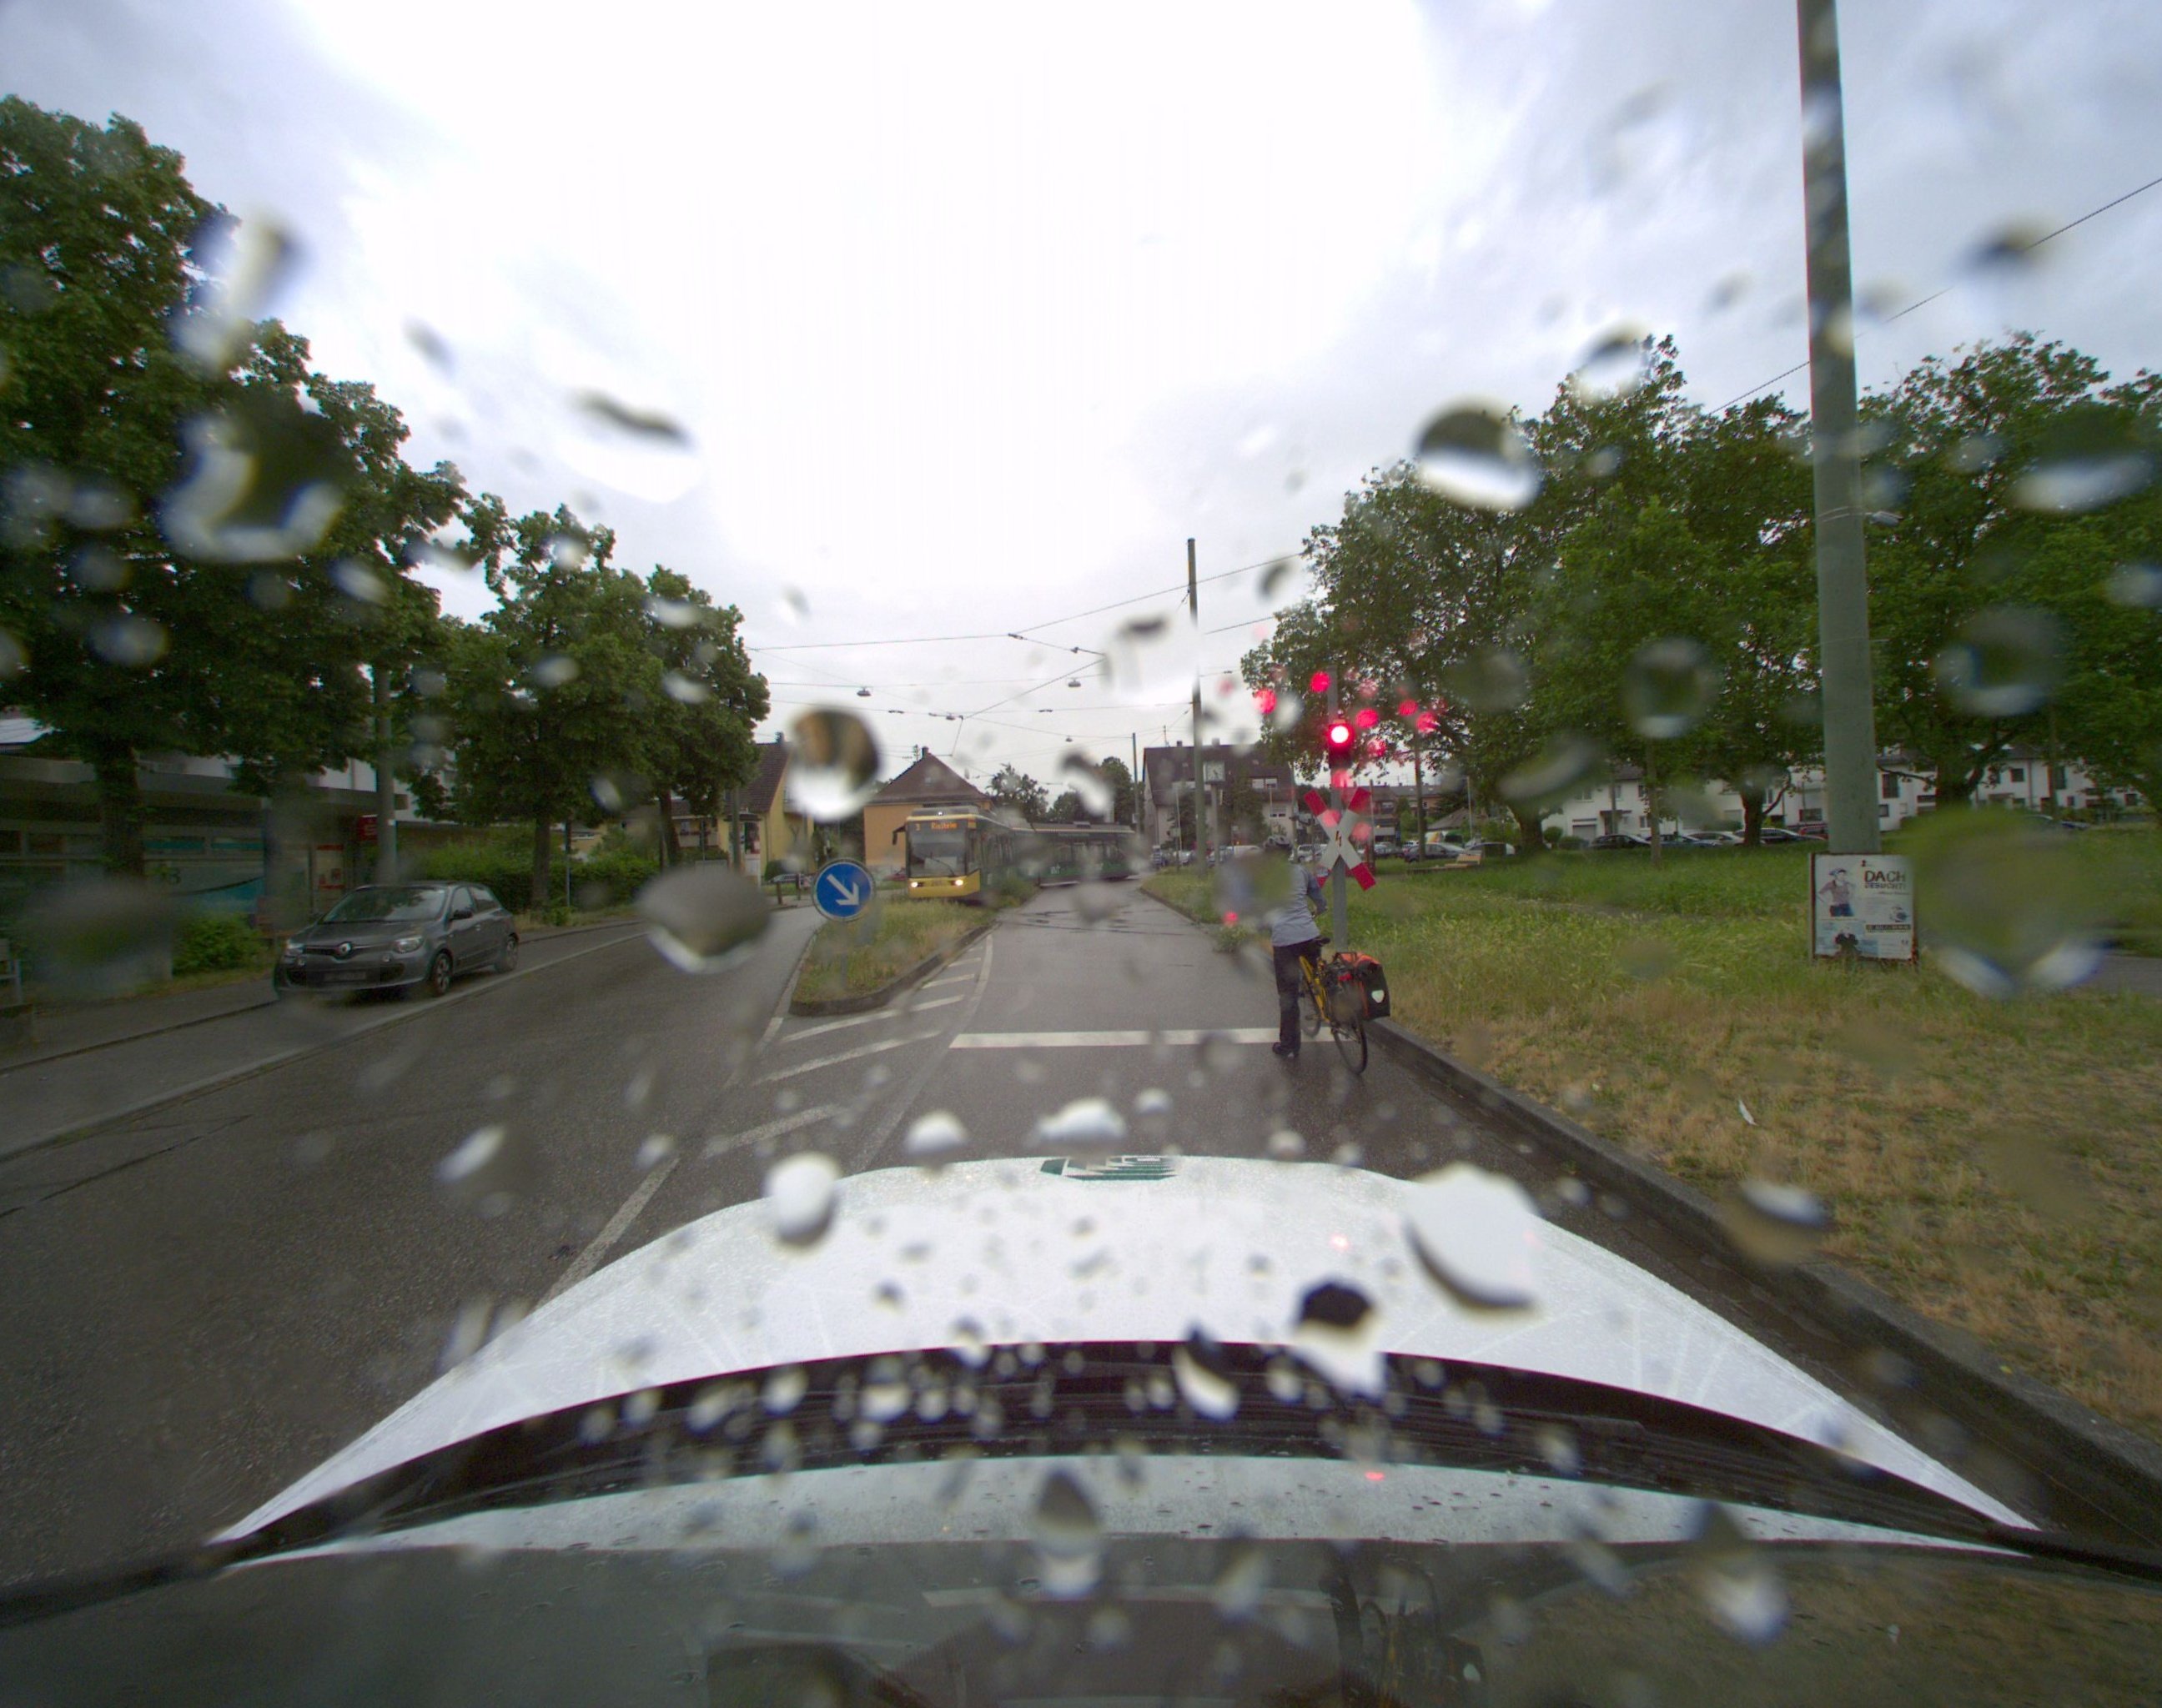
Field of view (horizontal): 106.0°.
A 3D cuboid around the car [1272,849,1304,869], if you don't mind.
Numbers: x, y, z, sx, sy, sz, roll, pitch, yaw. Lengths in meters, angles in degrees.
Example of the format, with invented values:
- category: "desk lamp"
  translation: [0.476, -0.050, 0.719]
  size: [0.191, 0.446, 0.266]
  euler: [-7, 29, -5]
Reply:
- category: "car"
  translation: [17.971, 0.435, 70.703]
  size: [1.823, 1.640, 4.024]
  euler: [-1, -1, 27]

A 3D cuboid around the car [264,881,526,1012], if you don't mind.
- category: "car"
  translation: [-9.685, 1.189, 11.876]
  size: [1.621, 1.496, 3.645]
  euler: [0, -1, -18]

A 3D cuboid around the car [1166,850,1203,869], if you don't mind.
- category: "car"
  translation: [9.091, 0.506, 71.475]
  size: [1.975, 1.640, 4.024]
  euler: [-1, -1, 27]

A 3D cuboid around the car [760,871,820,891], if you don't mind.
- category: "car"
  translation: [-22.111, 2.032, 62.023]
  size: [3.979, 1.456, 1.831]
  euler: [0, -1, -5]

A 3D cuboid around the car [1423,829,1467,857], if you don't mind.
- category: "car"
  translation: [32.570, -0.968, 72.994]
  size: [1.987, 2.443, 4.354]
  euler: [0, -1, 1]

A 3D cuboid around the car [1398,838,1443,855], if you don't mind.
- category: "car"
  translation: [35.419, -0.776, 84.947]
  size: [3.971, 1.640, 1.847]
  euler: [0, -1, 2]

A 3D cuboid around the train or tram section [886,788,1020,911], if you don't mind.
- category: "train or tram section"
  translation: [-4.266, -0.128, 30.424]
  size: [2.751, 3.553, 12.205]
  euler: [-2, 0, 1]

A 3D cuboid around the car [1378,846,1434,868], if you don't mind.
- category: "car"
  translation: [25.891, 0.210, 64.953]
  size: [3.670, 1.701, 1.891]
  euler: [0, -1, 2]

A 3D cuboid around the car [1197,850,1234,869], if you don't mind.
- category: "car"
  translation: [11.623, 0.476, 70.245]
  size: [1.975, 1.640, 4.024]
  euler: [-1, -1, 27]

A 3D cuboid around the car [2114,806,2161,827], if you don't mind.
- category: "car"
  translation: [89.723, -3.150, 68.335]
  size: [3.670, 1.660, 1.891]
  euler: [0, -1, 2]

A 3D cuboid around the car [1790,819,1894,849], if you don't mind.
- category: "car"
  translation: [42.624, -1.085, 45.683]
  size: [1.814, 1.495, 3.881]
  euler: [0, -1, -27]

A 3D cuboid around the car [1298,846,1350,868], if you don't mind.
- category: "car"
  translation: [19.310, 0.255, 64.808]
  size: [3.670, 1.701, 1.891]
  euler: [0, -1, 2]

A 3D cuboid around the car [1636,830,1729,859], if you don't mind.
- category: "car"
  translation: [33.200, -0.514, 44.991]
  size: [1.821, 1.495, 3.867]
  euler: [0, -1, -44]

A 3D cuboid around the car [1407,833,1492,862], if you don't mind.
- category: "car"
  translation: [20.256, -0.322, 44.901]
  size: [1.821, 1.495, 3.867]
  euler: [0, -1, -44]

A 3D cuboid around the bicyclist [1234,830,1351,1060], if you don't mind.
- category: "bicyclist"
  translation: [1.584, 0.650, 6.215]
  size: [0.665, 1.626, 0.853]
  euler: [0, -1, 0]

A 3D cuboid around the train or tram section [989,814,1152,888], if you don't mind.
- category: "train or tram section"
  translation: [-0.105, -0.259, 46.117]
  size: [2.734, 3.553, 13.215]
  euler: [-2, 0, 30]

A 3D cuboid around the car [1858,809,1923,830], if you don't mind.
- category: "car"
  translation: [69.994, -2.990, 70.456]
  size: [3.670, 1.660, 1.891]
  euler: [0, -1, 2]

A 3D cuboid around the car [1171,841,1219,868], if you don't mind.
- category: "car"
  translation: [11.175, 0.020, 79.716]
  size: [4.362, 2.566, 2.008]
  euler: [-1, -1, 16]

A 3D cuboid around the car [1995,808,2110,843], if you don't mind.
- category: "car"
  translation: [54.631, -1.571, 45.861]
  size: [1.815, 1.765, 3.879]
  euler: [0, -1, -29]

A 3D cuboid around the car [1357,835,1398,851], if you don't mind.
- category: "car"
  translation: [33.137, -1.231, 91.037]
  size: [3.968, 1.791, 2.002]
  euler: [0, -1, 4]

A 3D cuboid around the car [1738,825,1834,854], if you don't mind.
- category: "car"
  translation: [39.262, -0.778, 45.410]
  size: [1.821, 1.495, 3.867]
  euler: [0, -1, -44]

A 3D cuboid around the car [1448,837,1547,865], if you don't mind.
- category: "car"
  translation: [20.502, -0.130, 40.247]
  size: [3.964, 1.285, 1.851]
  euler: [0, -1, 8]

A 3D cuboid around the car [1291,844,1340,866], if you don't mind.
- category: "car"
  translation: [21.805, 0.084, 75.928]
  size: [3.974, 1.951, 1.999]
  euler: [0, -1, -1]

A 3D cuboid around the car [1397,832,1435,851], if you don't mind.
- category: "car"
  translation: [39.086, -1.430, 95.139]
  size: [1.998, 2.014, 3.978]
  euler: [0, -1, -16]

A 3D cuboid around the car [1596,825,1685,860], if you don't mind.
- category: "car"
  translation: [30.538, -0.610, 44.533]
  size: [1.821, 1.798, 3.721]
  euler: [0, -1, -44]

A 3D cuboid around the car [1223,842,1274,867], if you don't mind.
- category: "car"
  translation: [15.623, 0.073, 76.039]
  size: [4.381, 2.325, 1.999]
  euler: [0, -1, -1]

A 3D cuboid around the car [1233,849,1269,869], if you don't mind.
- category: "car"
  translation: [14.738, 0.455, 70.390]
  size: [1.975, 1.640, 4.024]
  euler: [-1, -1, 27]

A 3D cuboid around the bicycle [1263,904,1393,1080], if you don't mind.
- category: "bicycle"
  translation: [1.794, 0.946, 6.136]
  size: [0.444, 1.004, 1.728]
  euler: [-2, 0, 1]

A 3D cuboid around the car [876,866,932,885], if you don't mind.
- category: "car"
  translation: [-13.666, 1.654, 63.069]
  size: [3.979, 1.456, 1.831]
  euler: [0, -1, -5]

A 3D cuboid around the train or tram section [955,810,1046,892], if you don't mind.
- category: "train or tram section"
  translation: [-3.705, -0.118, 38.636]
  size: [2.742, 3.553, 5.005]
  euler: [-2, -1, 12]

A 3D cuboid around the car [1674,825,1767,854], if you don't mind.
- category: "car"
  translation: [35.703, -0.751, 45.521]
  size: [1.821, 1.495, 3.867]
  euler: [0, -1, -44]

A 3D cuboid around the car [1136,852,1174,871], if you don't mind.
- category: "car"
  translation: [6.645, 0.646, 72.779]
  size: [1.975, 1.640, 4.024]
  euler: [-1, -1, 27]
